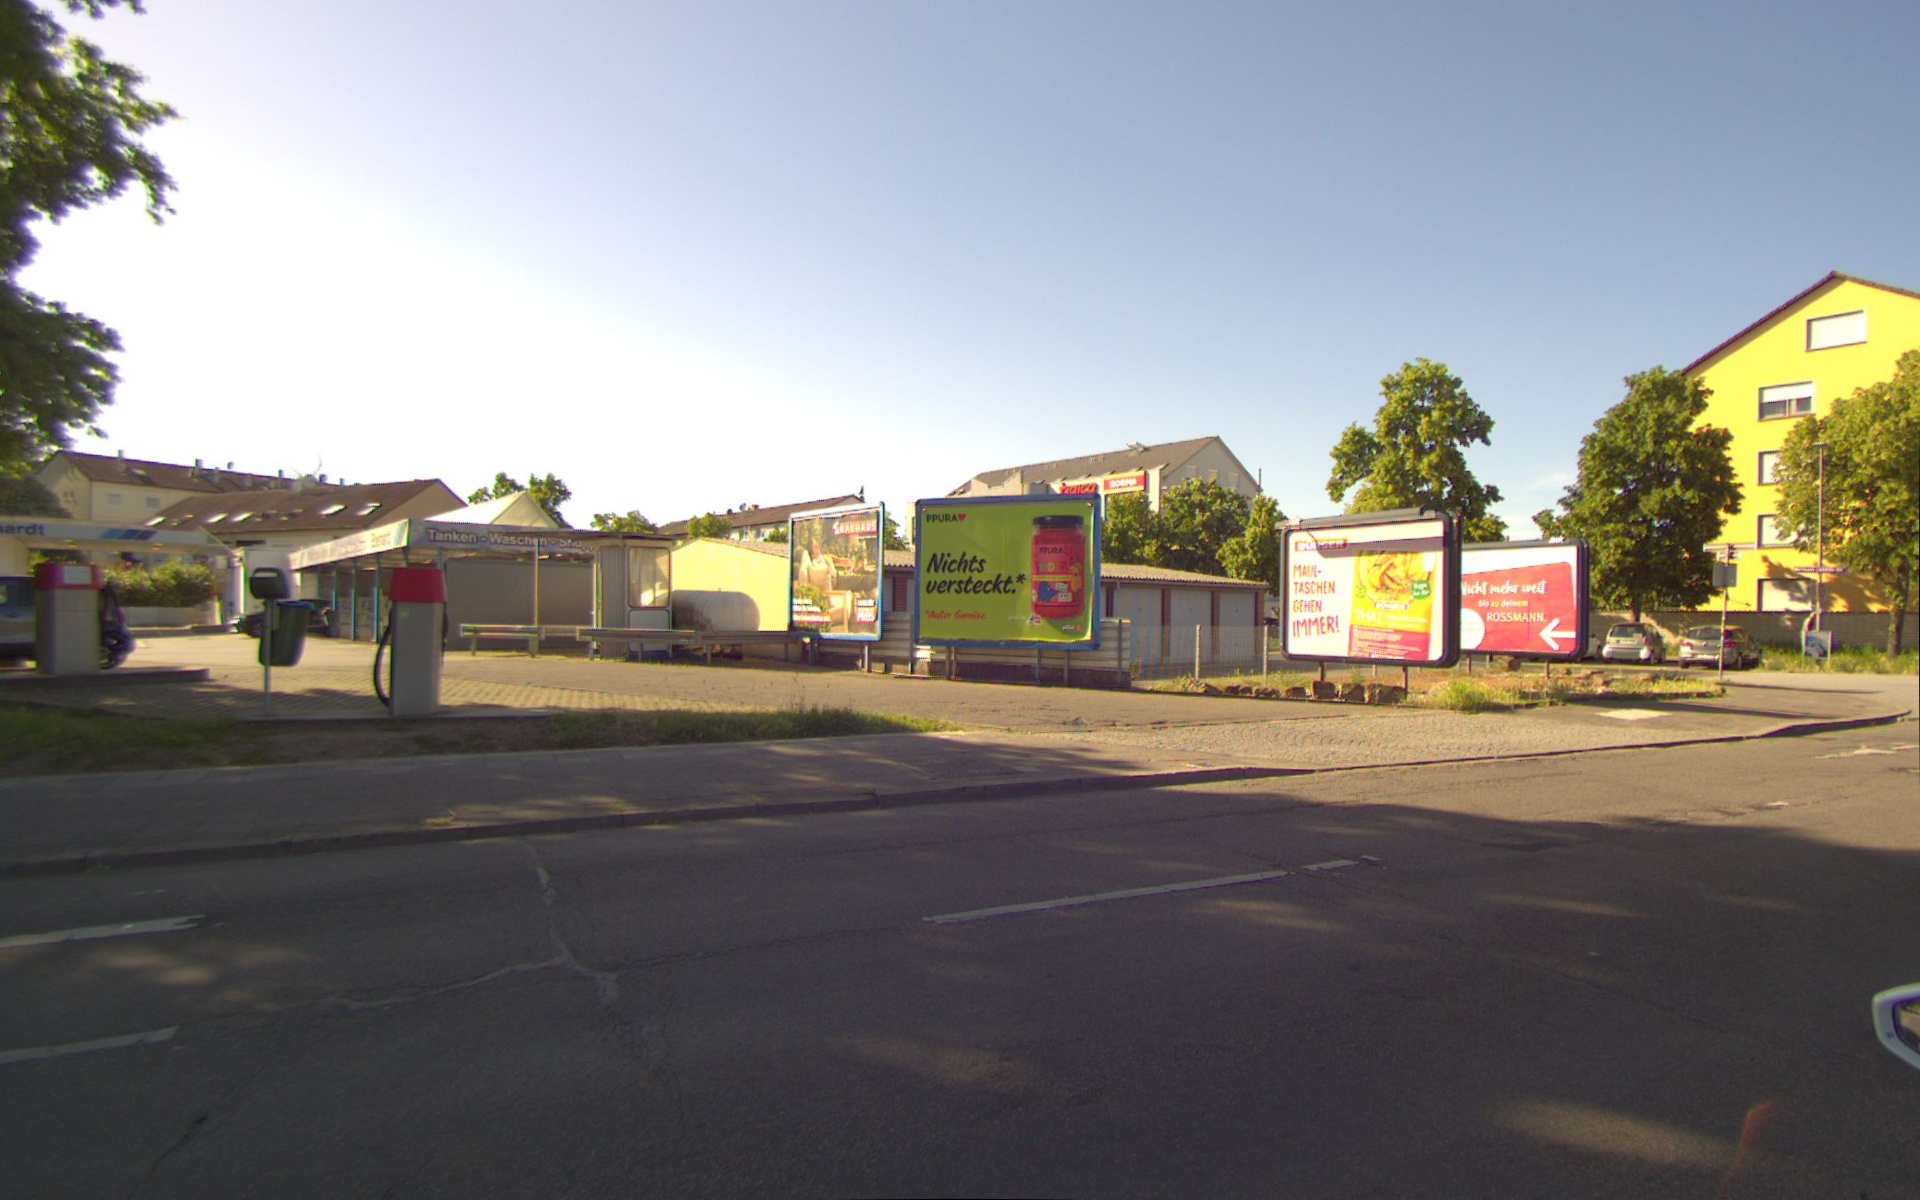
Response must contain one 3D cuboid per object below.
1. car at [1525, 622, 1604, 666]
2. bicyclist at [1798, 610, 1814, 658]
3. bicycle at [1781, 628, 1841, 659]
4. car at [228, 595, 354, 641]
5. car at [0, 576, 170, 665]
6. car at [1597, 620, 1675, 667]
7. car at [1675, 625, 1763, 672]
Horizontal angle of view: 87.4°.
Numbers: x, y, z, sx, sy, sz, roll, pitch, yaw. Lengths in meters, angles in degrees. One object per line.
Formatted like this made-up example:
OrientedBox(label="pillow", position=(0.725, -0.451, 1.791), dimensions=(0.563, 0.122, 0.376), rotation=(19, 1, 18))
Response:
OrientedBox(label="car", position=(23.610, 1.674, 39.187), dimensions=(3.854, 1.484, 1.681), rotation=(-2, 1, -44))
OrientedBox(label="bicyclist", position=(30.504, 1.220, 36.224), dimensions=(0.383, 1.708, 0.381), rotation=(1, -2, 31))
OrientedBox(label="bicycle", position=(30.587, 1.557, 36.139), dimensions=(1.594, 1.024, 0.405), rotation=(1, 0, 31))
OrientedBox(label="car", position=(-27.149, 0.762, 40.855), dimensions=(4.053, 1.694, 1.567), rotation=(4, -3, -42))
OrientedBox(label="car", position=(-15.732, 0.324, 16.456), dimensions=(1.727, 1.394, 3.997), rotation=(1, -2, 26))
OrientedBox(label="car", position=(25.536, 1.590, 37.922), dimensions=(3.854, 1.643, 1.681), rotation=(0, 0, -44))
OrientedBox(label="car", position=(26.573, 1.653, 35.119), dimensions=(3.851, 1.483, 1.714), rotation=(0, 0, -41))
